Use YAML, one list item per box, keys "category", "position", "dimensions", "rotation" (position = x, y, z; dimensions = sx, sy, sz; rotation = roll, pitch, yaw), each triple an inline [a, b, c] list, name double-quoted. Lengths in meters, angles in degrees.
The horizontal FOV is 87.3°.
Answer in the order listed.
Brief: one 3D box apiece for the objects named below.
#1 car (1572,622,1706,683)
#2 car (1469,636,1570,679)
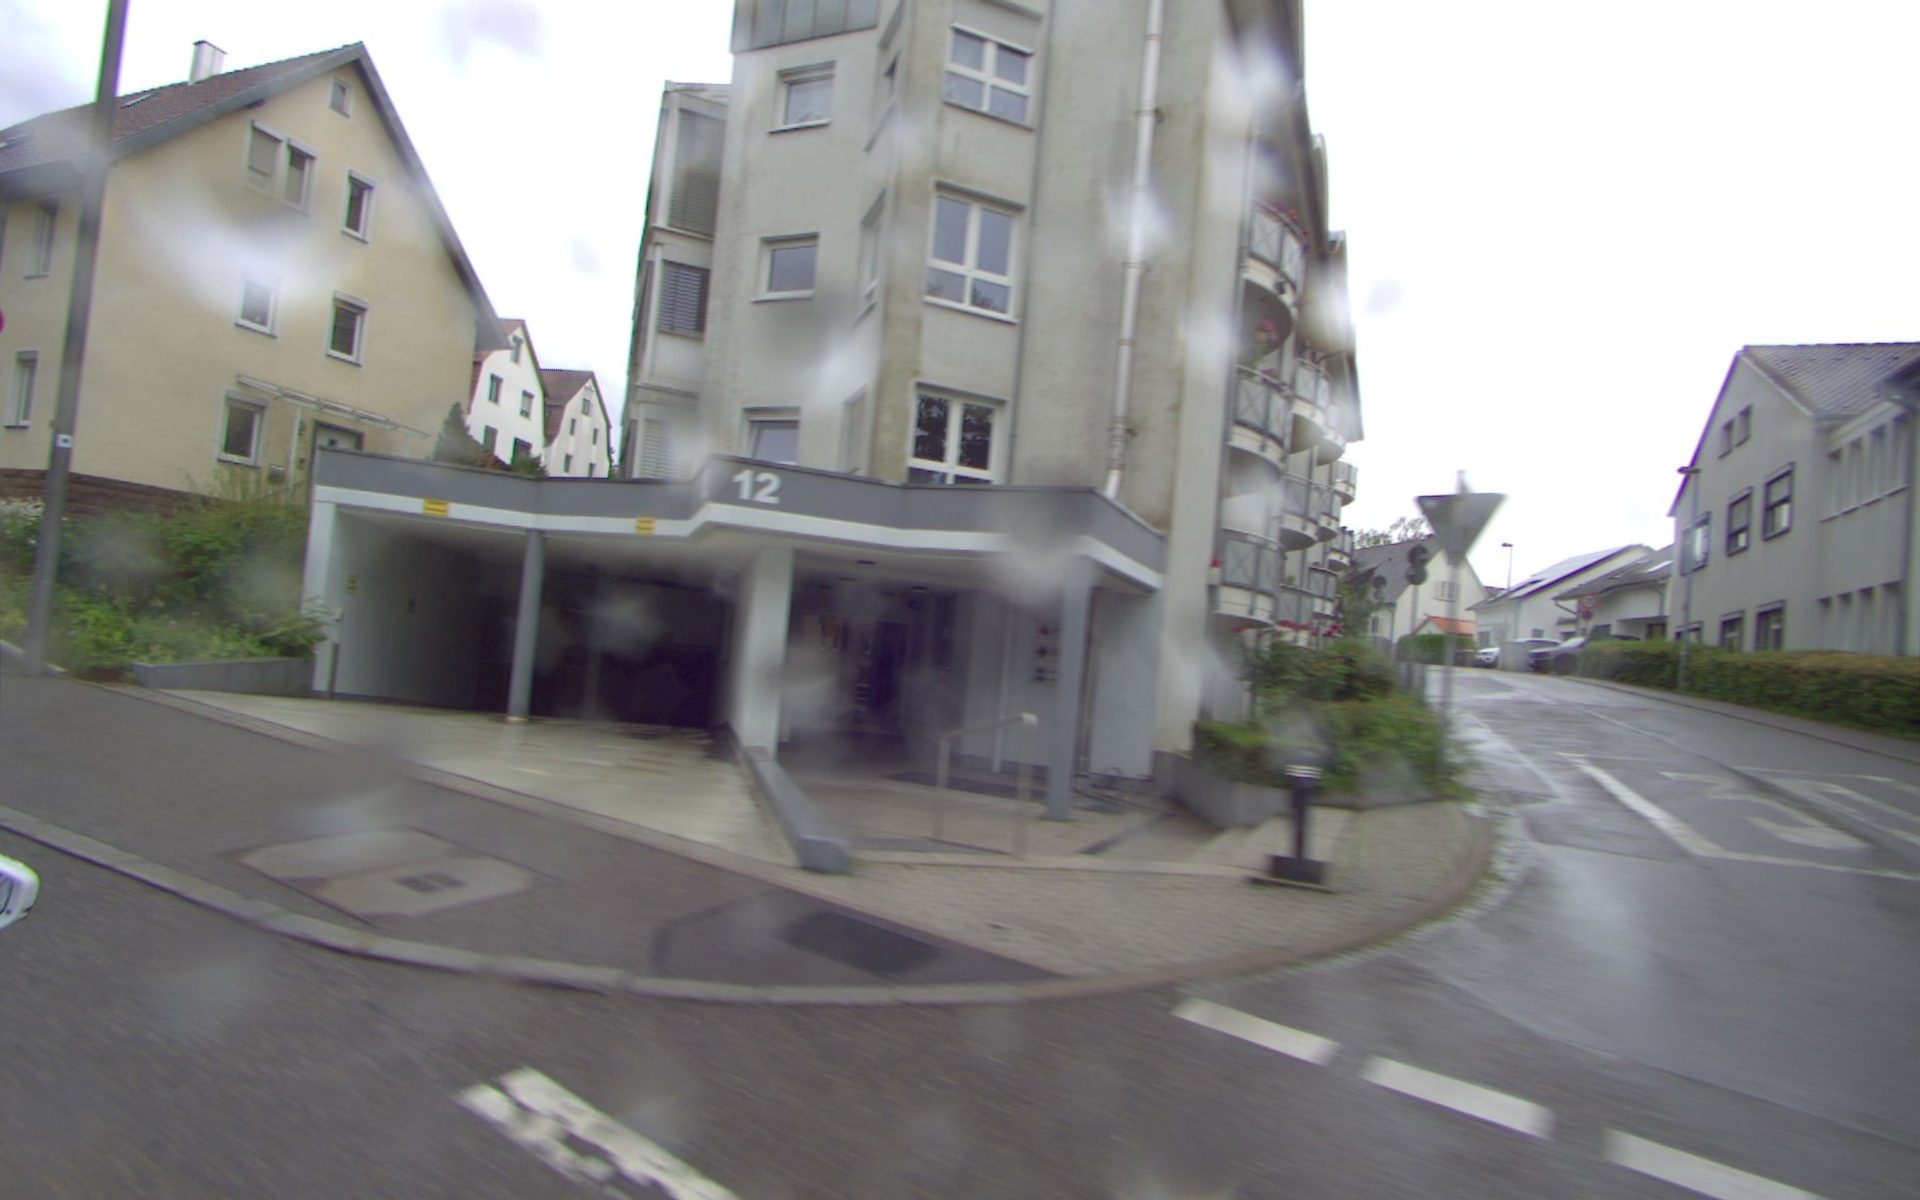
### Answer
- category: "car"
  position: [27.475, 2.133, 40.852]
  dimensions: [3.924, 2.036, 2.003]
  rotation: [5, -3, 16]
- category: "car"
  position: [28.468, 2.932, 51.309]
  dimensions: [3.923, 1.724, 2.003]
  rotation: [6, -3, 6]
